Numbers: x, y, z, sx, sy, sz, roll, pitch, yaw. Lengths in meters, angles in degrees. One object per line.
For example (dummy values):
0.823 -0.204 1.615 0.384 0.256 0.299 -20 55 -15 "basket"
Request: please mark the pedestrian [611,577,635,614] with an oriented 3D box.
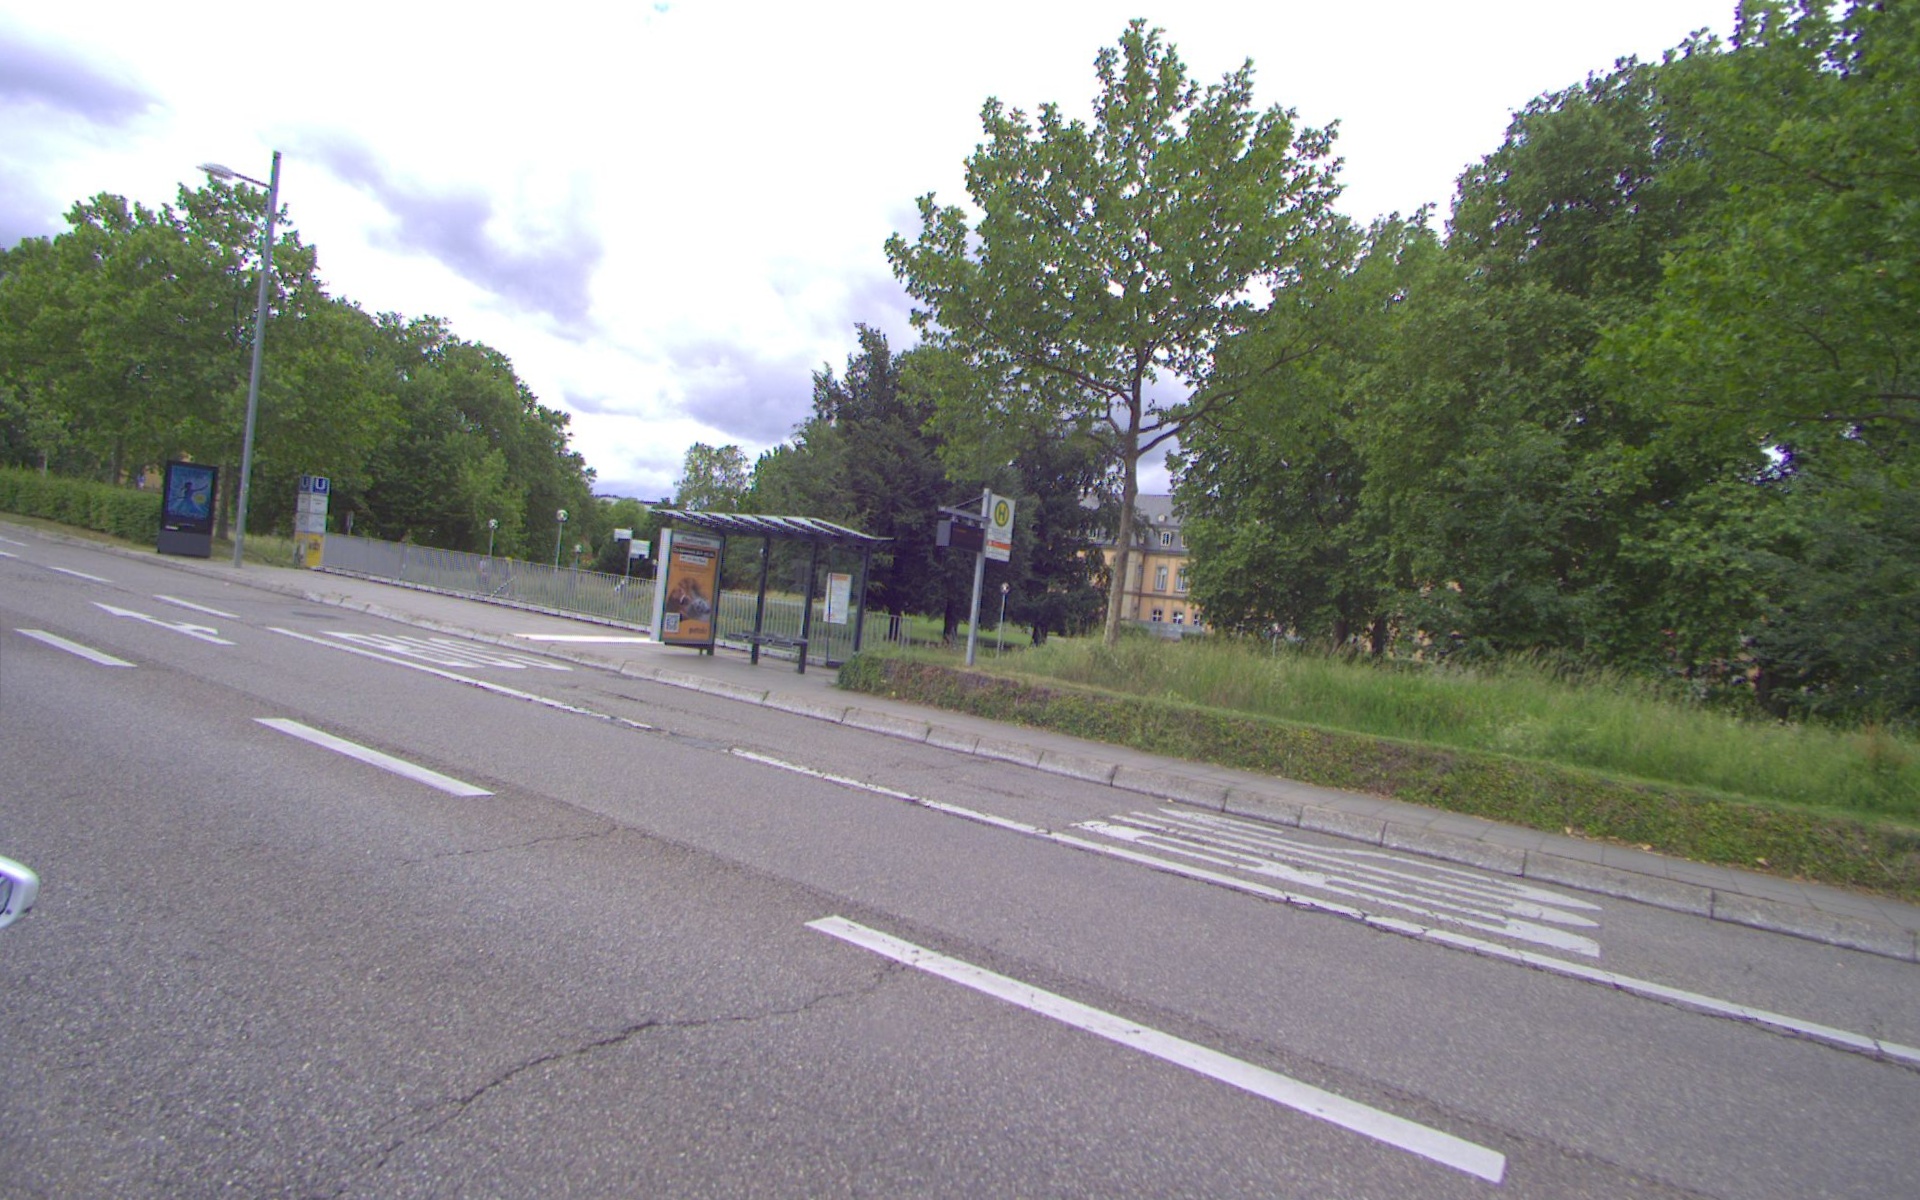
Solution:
-15.890 -0.224 47.483 0.674 1.619 0.654 6 -2 42 "pedestrian"
